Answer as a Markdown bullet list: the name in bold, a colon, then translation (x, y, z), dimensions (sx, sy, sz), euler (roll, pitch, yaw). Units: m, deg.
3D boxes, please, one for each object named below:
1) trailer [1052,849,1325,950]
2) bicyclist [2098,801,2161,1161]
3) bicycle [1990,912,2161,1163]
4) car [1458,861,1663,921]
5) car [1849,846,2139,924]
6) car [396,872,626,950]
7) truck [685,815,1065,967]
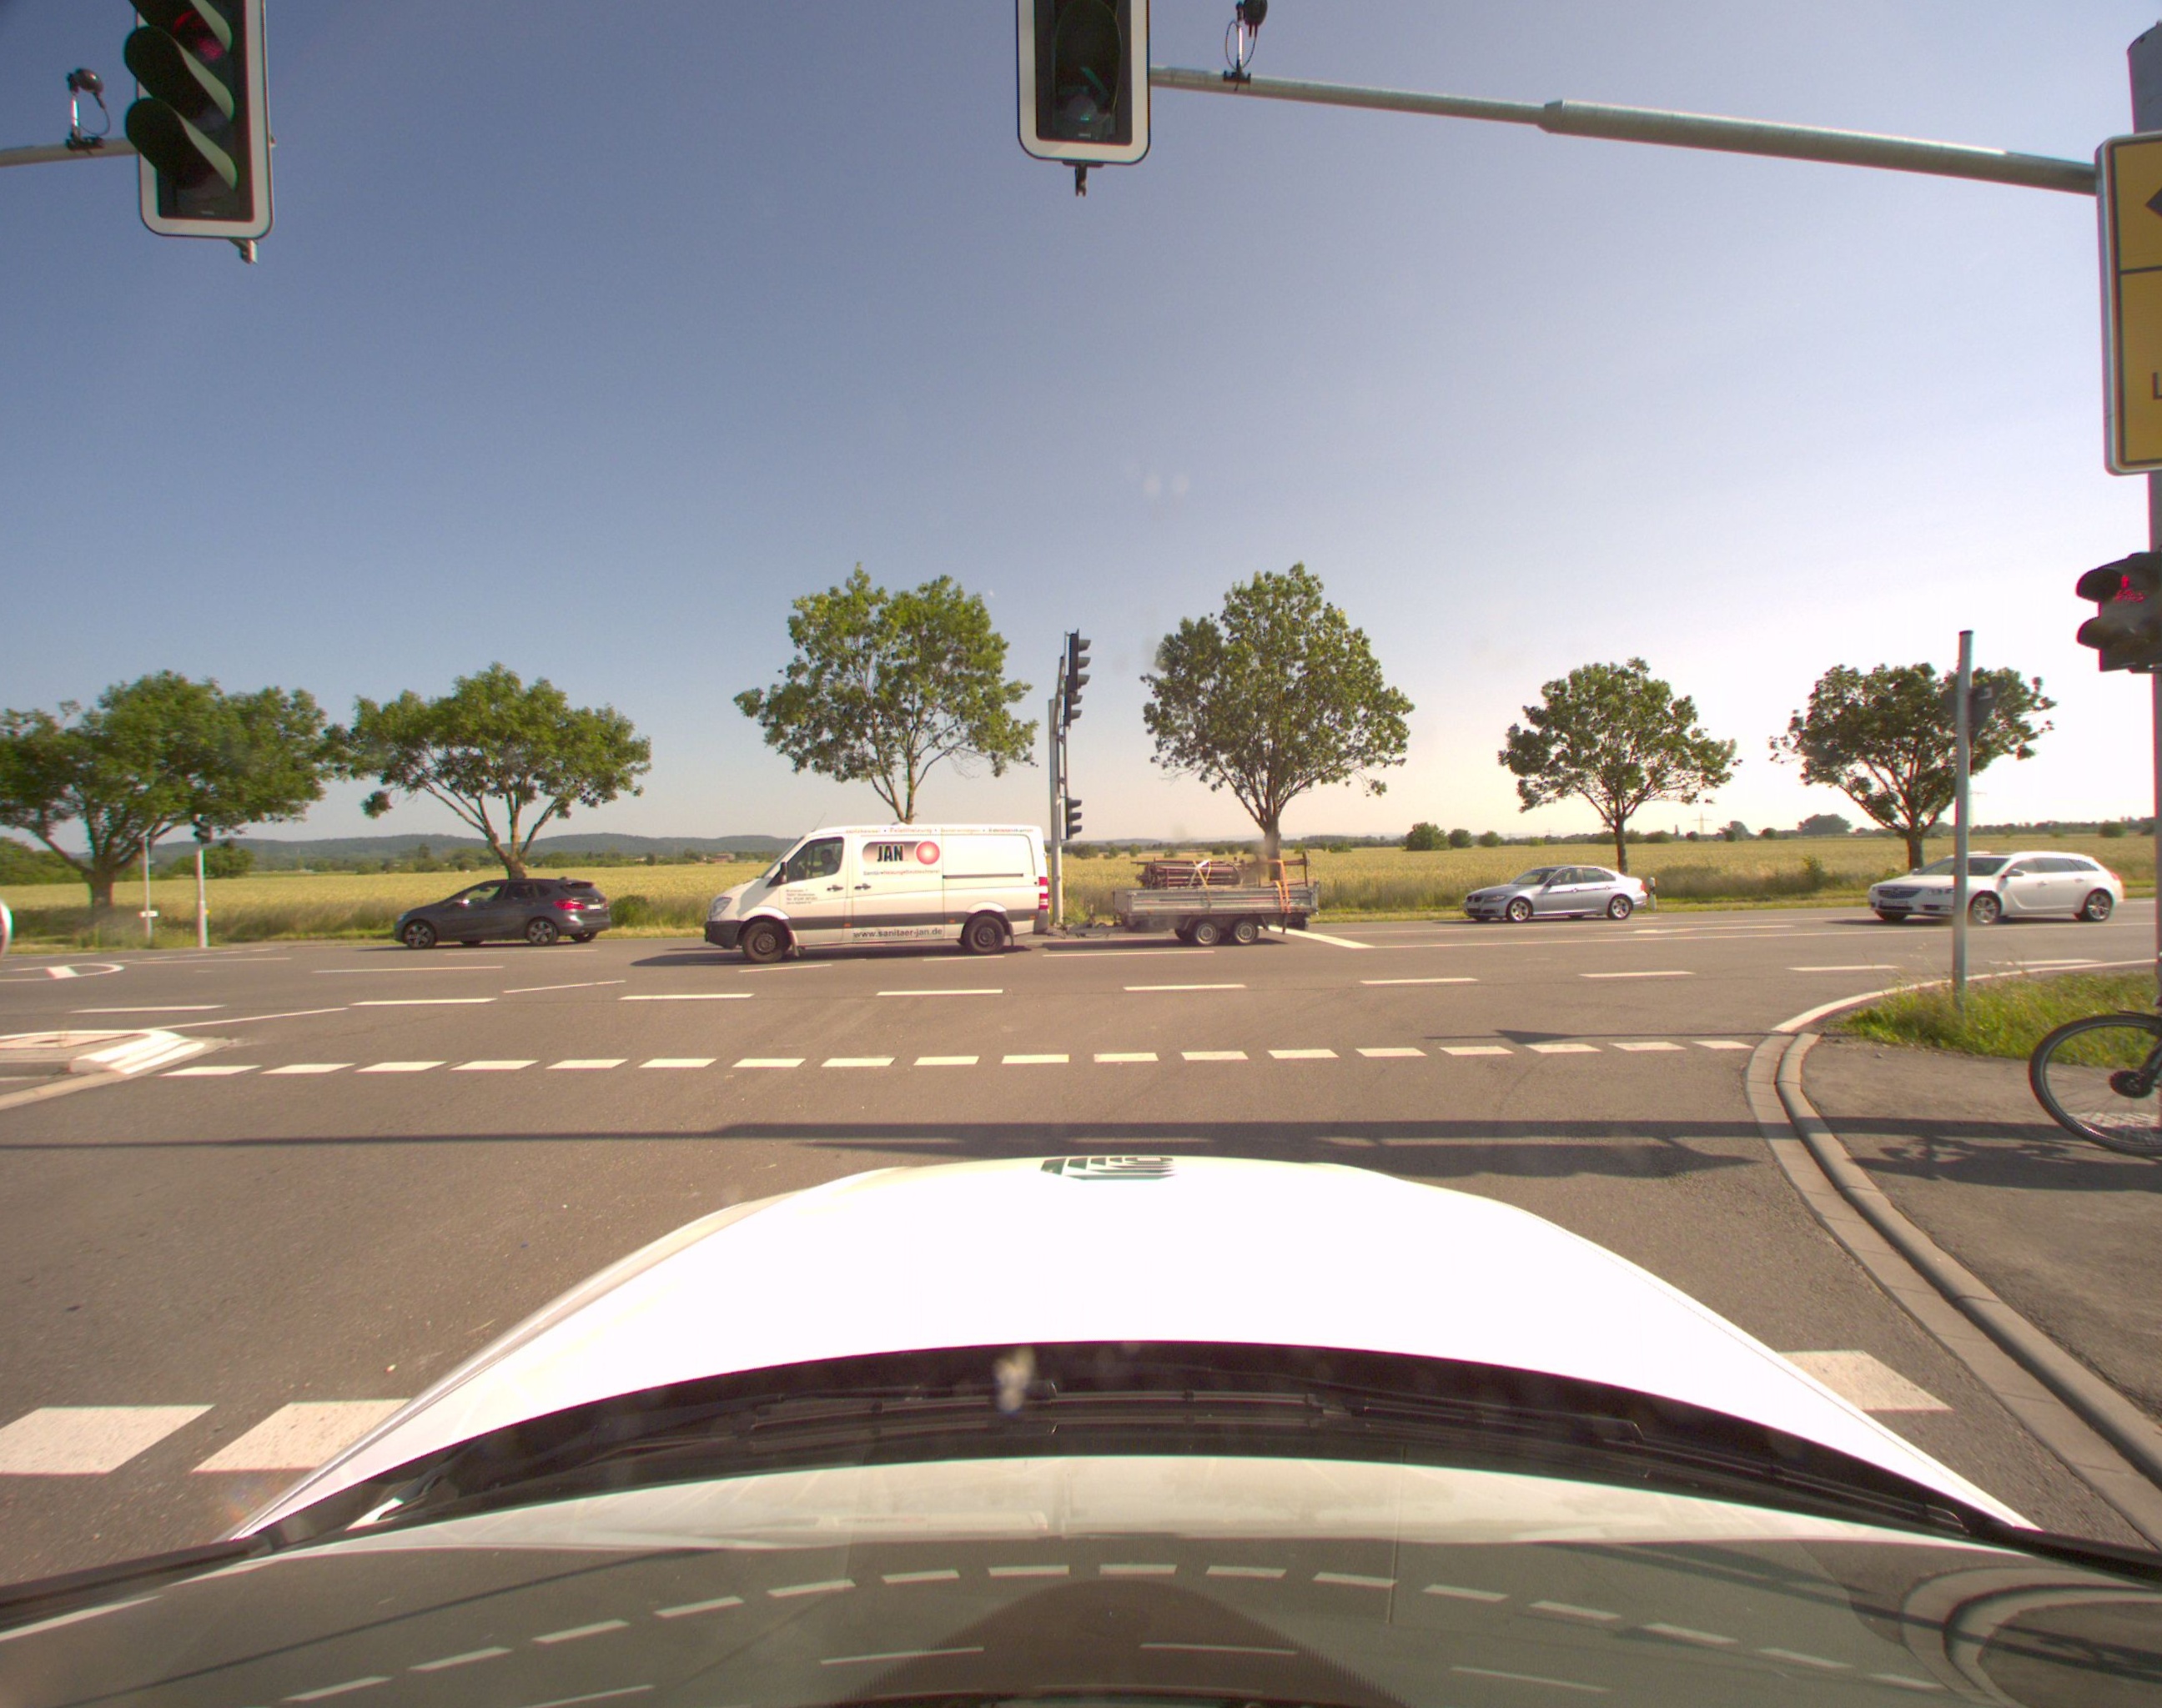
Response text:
- **trailer**: translation (2.008, 0.842, 16.034), dimensions (4.990, 1.738, 1.976), euler (-1, -1, -7)
- **bicyclist**: translation (5.802, 0.638, 3.974), dimensions (0.906, 1.765, 0.623), euler (2, 1, 42)
- **bicycle**: translation (5.860, 0.948, 3.892), dimensions (1.921, 1.151, 0.685), euler (3, 1, 42)
- **car**: translation (12.283, 0.944, 20.985), dimensions (4.401, 1.377, 1.631), euler (-1, -3, -5)
- **car**: translation (19.549, 0.635, 17.540), dimensions (4.687, 1.492, 1.761), euler (-1, -1, -7)
- **car**: translation (-13.171, 1.313, 19.026), dimensions (3.976, 1.626, 1.889), euler (-1, -3, -2)
- **truck**: translation (-3.544, 0.568, 14.714), dimensions (6.191, 2.405, 2.060), euler (-1, -1, -16)
